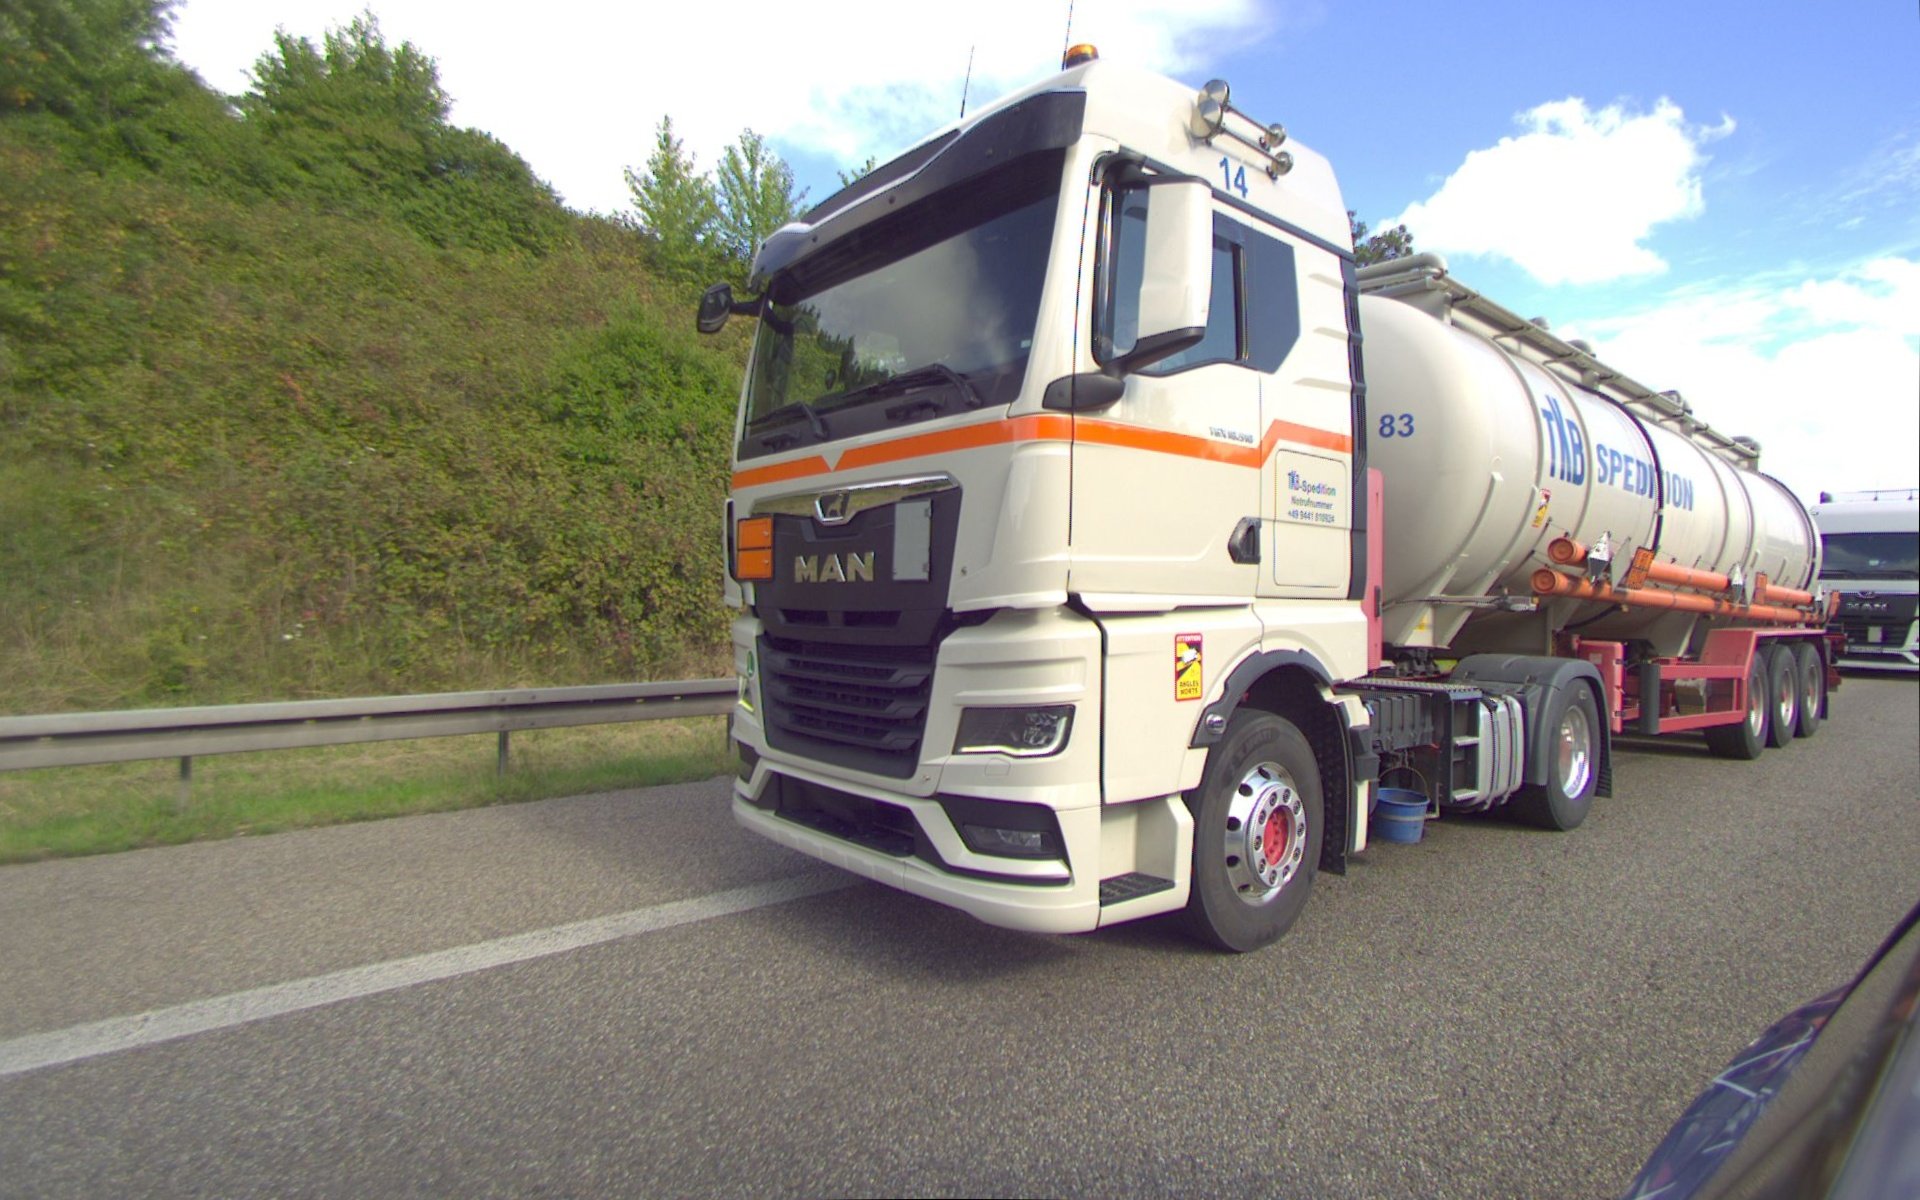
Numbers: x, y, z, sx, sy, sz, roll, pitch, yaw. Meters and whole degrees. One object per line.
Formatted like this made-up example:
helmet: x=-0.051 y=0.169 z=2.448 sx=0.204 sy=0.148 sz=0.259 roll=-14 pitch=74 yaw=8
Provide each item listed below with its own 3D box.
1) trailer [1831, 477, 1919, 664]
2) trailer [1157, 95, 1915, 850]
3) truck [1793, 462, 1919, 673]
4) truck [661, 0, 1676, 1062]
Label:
trailer: x=26.184 y=-0.657 z=26.550 sx=13.132 sy=4.122 sz=2.832 roll=0 pitch=1 yaw=-39
trailer: x=6.618 y=-0.715 z=10.053 sx=10.981 sy=4.077 sz=2.804 roll=0 pitch=0 yaw=-39
truck: x=20.549 y=-0.645 z=21.917 sx=5.605 sy=4.123 sz=2.840 roll=0 pitch=0 yaw=-39
truck: x=1.594 y=-0.705 z=5.930 sx=5.798 sy=4.094 sz=2.809 roll=0 pitch=0 yaw=-39
